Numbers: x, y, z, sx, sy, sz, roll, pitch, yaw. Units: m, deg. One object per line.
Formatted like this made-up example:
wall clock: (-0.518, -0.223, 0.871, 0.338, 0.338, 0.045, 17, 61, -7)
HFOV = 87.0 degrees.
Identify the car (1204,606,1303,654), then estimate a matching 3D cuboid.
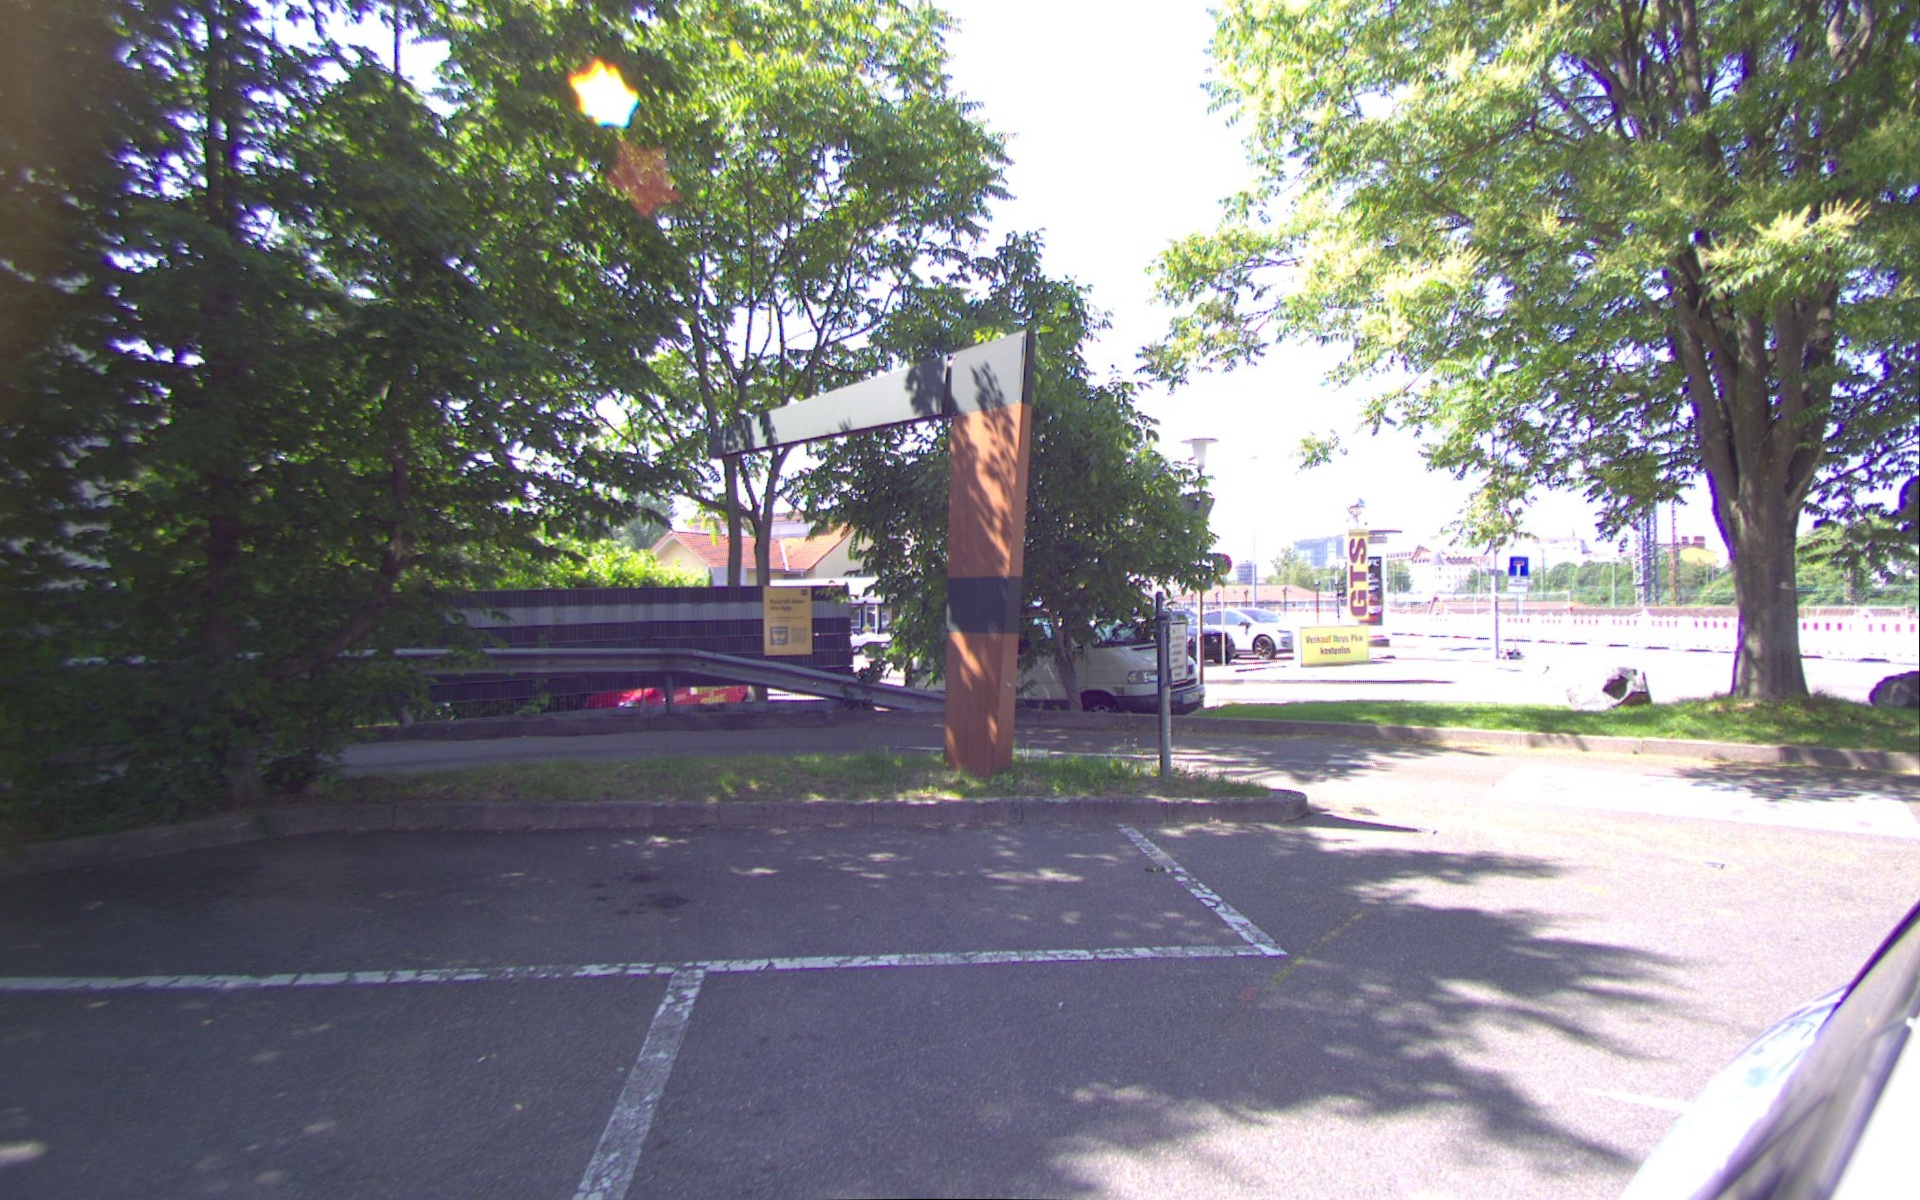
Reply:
car: (10.695, 1.061, 37.199, 1.824, 1.650, 4.006, 0, -1, -11)

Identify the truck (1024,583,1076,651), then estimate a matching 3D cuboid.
truck: (4.196, 0.765, 46.968, 2.237, 2.941, 5.932, 0, -1, 6)

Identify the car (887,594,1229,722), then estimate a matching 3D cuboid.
car: (1.295, 0.749, 15.178, 5.014, 1.603, 1.927, 0, -1, 44)

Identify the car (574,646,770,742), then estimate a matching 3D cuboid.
car: (-5.255, 1.657, 18.806, 1.476, 1.396, 3.374, 1, 1, 34)

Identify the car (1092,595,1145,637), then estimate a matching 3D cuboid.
car: (6.856, 0.694, 44.183, 1.850, 1.760, 4.716, 0, -1, 4)

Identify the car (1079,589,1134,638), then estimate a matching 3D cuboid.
car: (7.207, 0.671, 50.213, 2.103, 2.314, 4.707, -1, -1, 2)

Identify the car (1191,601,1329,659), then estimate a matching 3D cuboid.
car: (9.605, 0.968, 32.681, 1.960, 1.748, 4.002, 1, -2, -31)

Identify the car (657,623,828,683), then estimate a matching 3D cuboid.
car: (-6.621, 1.563, 30.670, 4.983, 1.666, 1.980, -1, -1, 28)

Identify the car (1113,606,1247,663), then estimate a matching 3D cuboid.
car: (6.672, 1.046, 31.265, 2.010, 1.615, 4.431, 0, -2, -19)
